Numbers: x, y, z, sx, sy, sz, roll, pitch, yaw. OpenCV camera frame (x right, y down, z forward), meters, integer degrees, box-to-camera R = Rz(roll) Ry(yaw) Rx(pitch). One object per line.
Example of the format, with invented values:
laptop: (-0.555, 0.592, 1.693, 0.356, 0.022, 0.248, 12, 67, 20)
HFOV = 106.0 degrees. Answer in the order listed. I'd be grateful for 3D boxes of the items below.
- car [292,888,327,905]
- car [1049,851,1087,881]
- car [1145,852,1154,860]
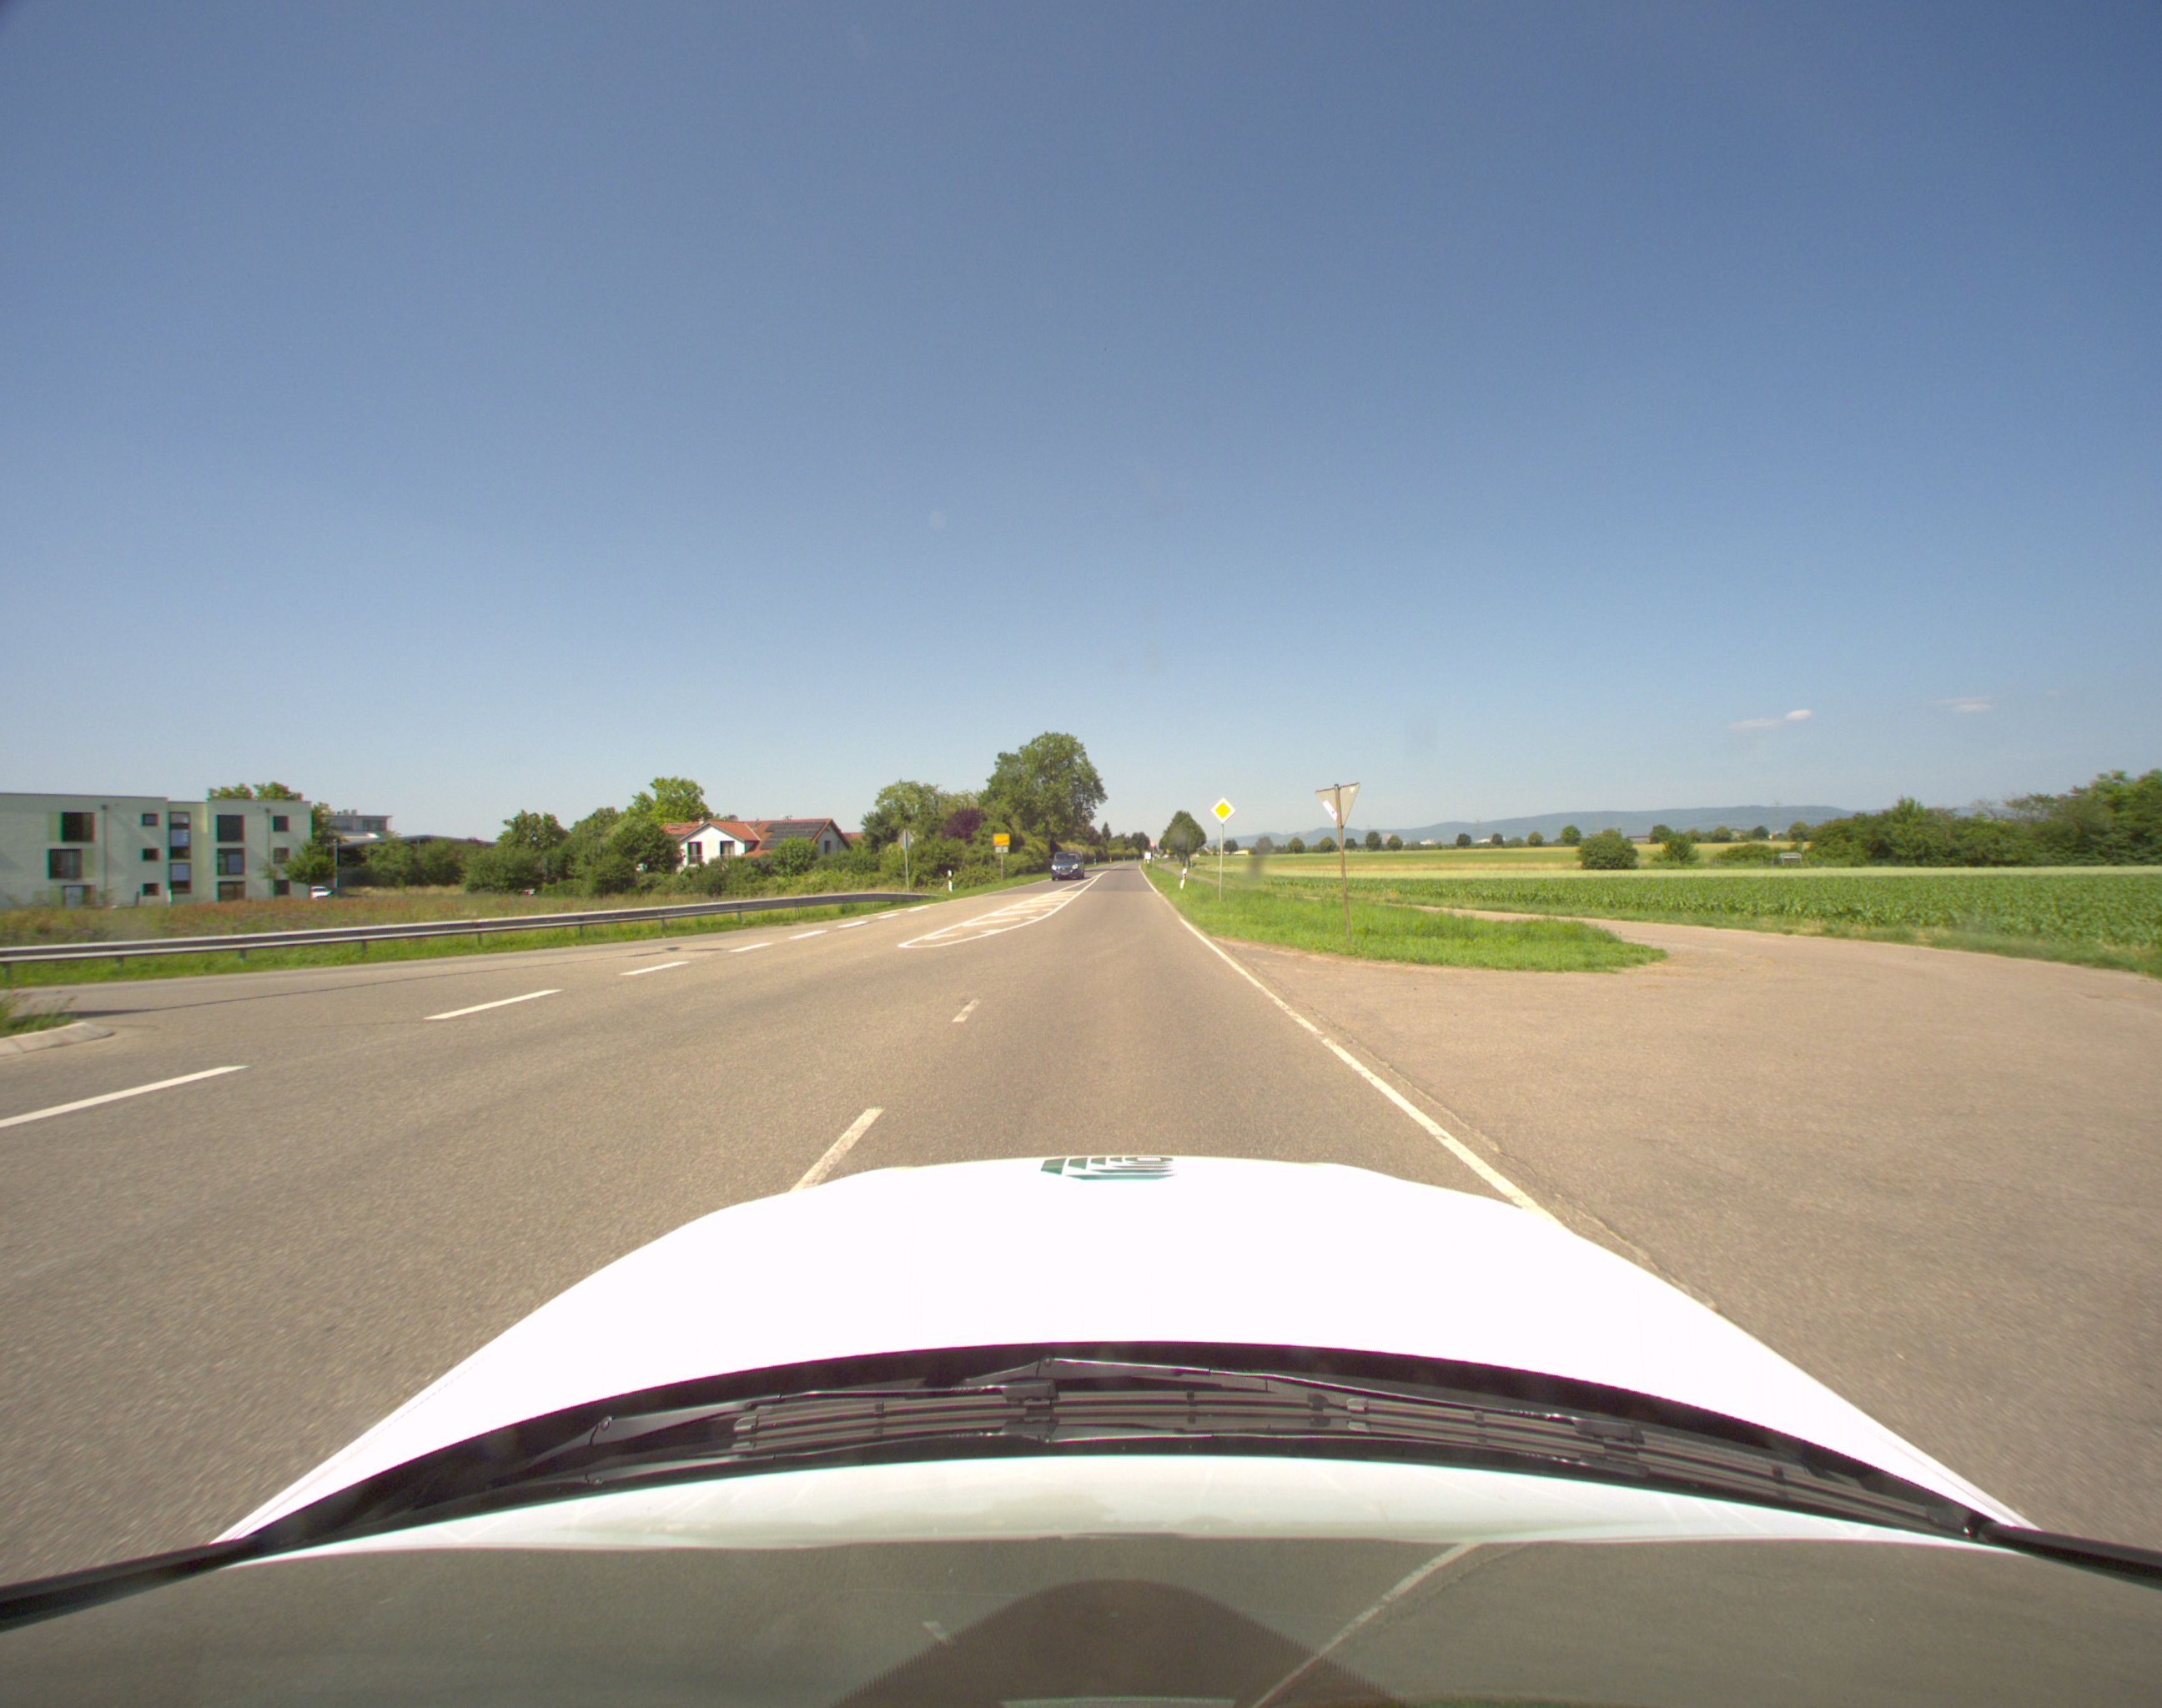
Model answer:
car: (-80.159, 4.371, 84.585, 3.948, 1.618, 1.837, -2, 0, 35)
car: (-0.838, 0.781, 57.255, 2.134, 1.951, 5.253, -2, 0, 4)
car: (21.700, 0.642, 258.151, 1.977, 2.651, 4.020, -2, 0, 19)
